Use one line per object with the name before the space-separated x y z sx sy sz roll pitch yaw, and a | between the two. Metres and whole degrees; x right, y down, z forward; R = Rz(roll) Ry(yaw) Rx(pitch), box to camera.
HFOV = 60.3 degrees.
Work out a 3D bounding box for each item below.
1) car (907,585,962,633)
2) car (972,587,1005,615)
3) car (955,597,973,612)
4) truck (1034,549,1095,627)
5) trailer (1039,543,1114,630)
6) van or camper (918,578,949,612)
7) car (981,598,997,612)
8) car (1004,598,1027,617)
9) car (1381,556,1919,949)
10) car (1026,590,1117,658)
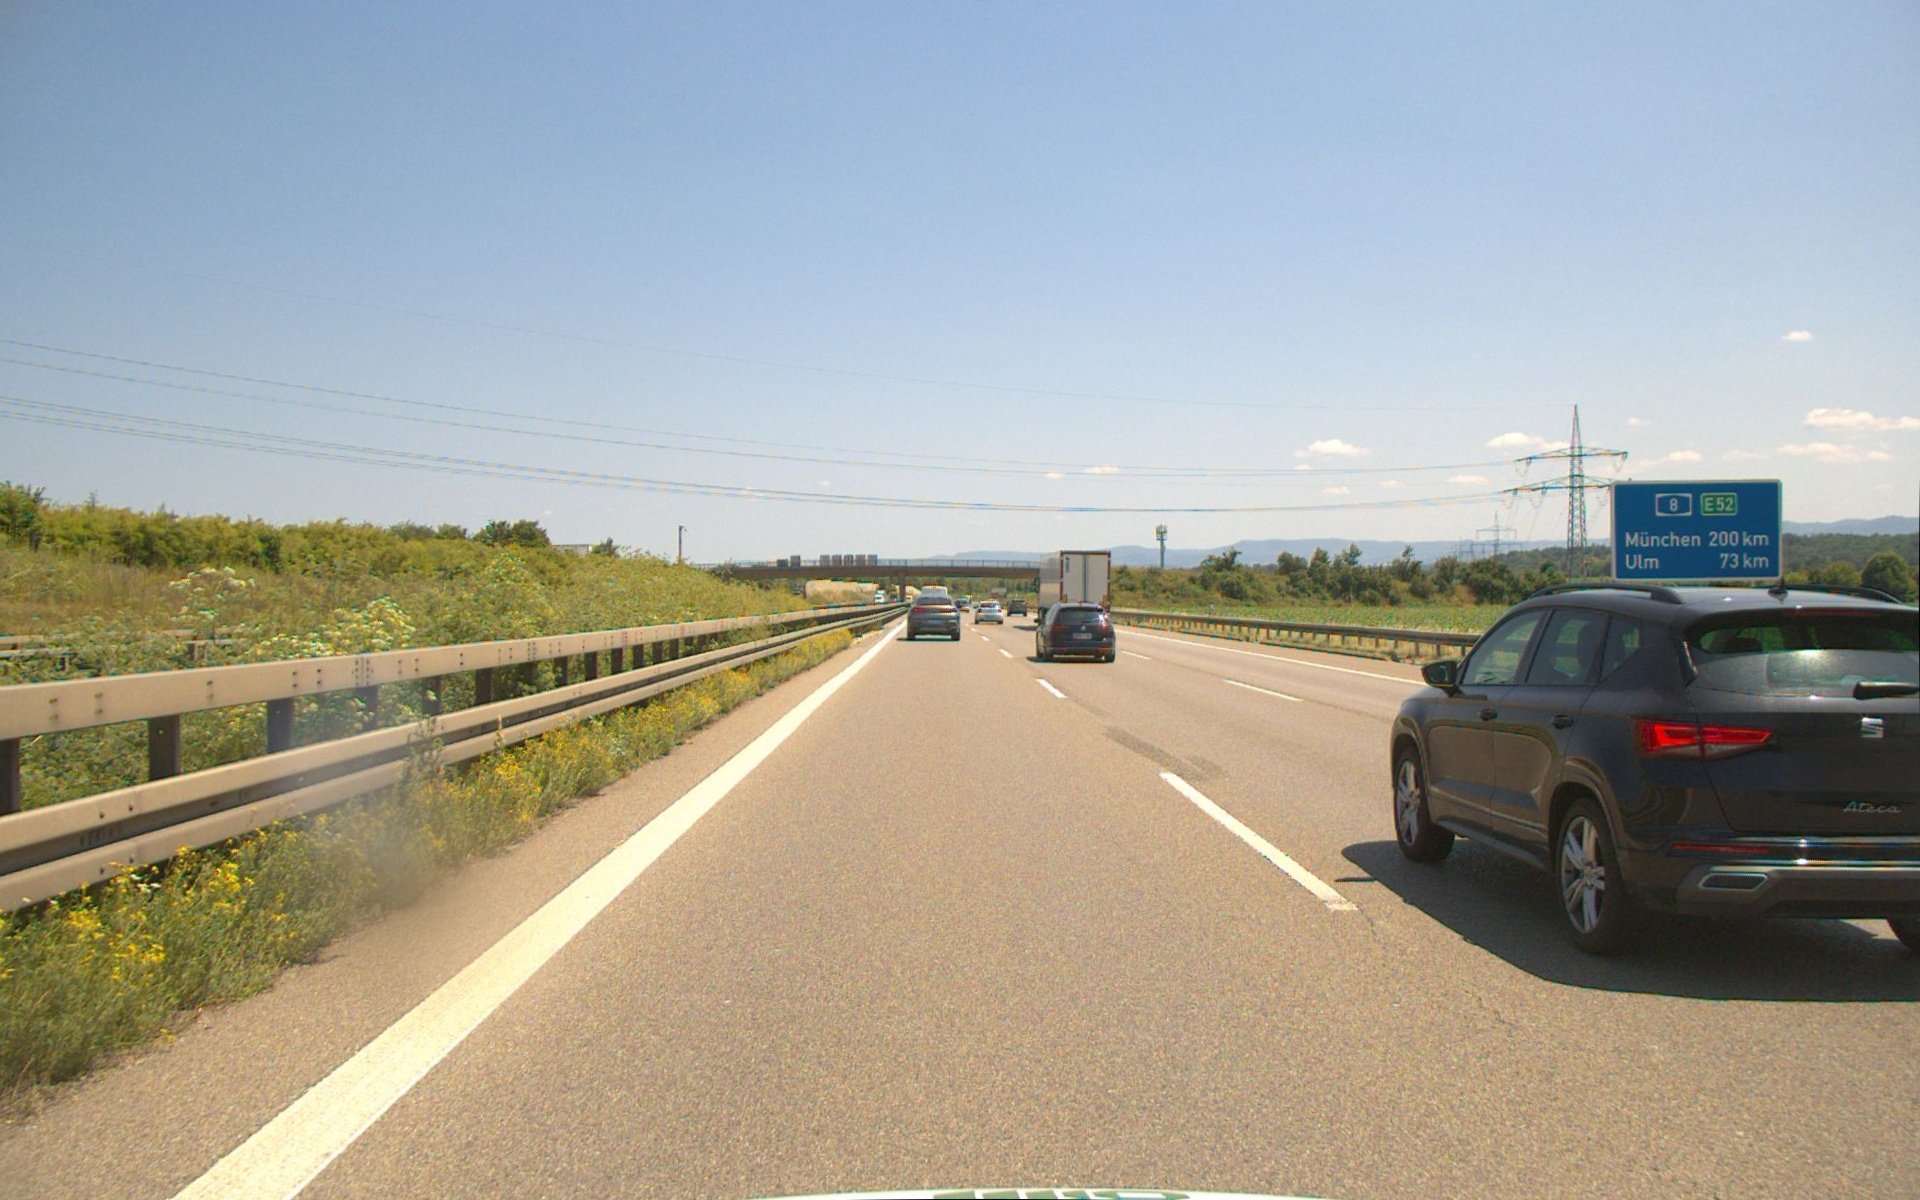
car | -0.969 0.326 61.131 1.814 1.693 3.732 1 0 -4
car | 1.792 0.045 104.743 1.953 1.712 3.999 1 0 -1
car | 0.441 0.511 192.460 1.953 1.712 3.999 1 0 -1
truck | 6.035 -0.685 96.589 2.918 4.301 7.686 1 0 -1
trailer | 6.118 -0.687 89.294 2.883 4.271 13.594 1 0 -1
van or camper | -1.794 -0.362 114.050 2.068 2.250 5.264 1 0 -1
car | 3.747 0.659 214.039 1.953 1.712 3.999 1 0 -1
car | 5.272 0.695 158.036 1.953 1.712 3.999 1 0 -1
car | 3.598 0.631 8.690 1.760 1.589 3.823 1 0 -1
car | 2.797 0.574 42.443 1.894 1.602 4.933 1 0 -1
